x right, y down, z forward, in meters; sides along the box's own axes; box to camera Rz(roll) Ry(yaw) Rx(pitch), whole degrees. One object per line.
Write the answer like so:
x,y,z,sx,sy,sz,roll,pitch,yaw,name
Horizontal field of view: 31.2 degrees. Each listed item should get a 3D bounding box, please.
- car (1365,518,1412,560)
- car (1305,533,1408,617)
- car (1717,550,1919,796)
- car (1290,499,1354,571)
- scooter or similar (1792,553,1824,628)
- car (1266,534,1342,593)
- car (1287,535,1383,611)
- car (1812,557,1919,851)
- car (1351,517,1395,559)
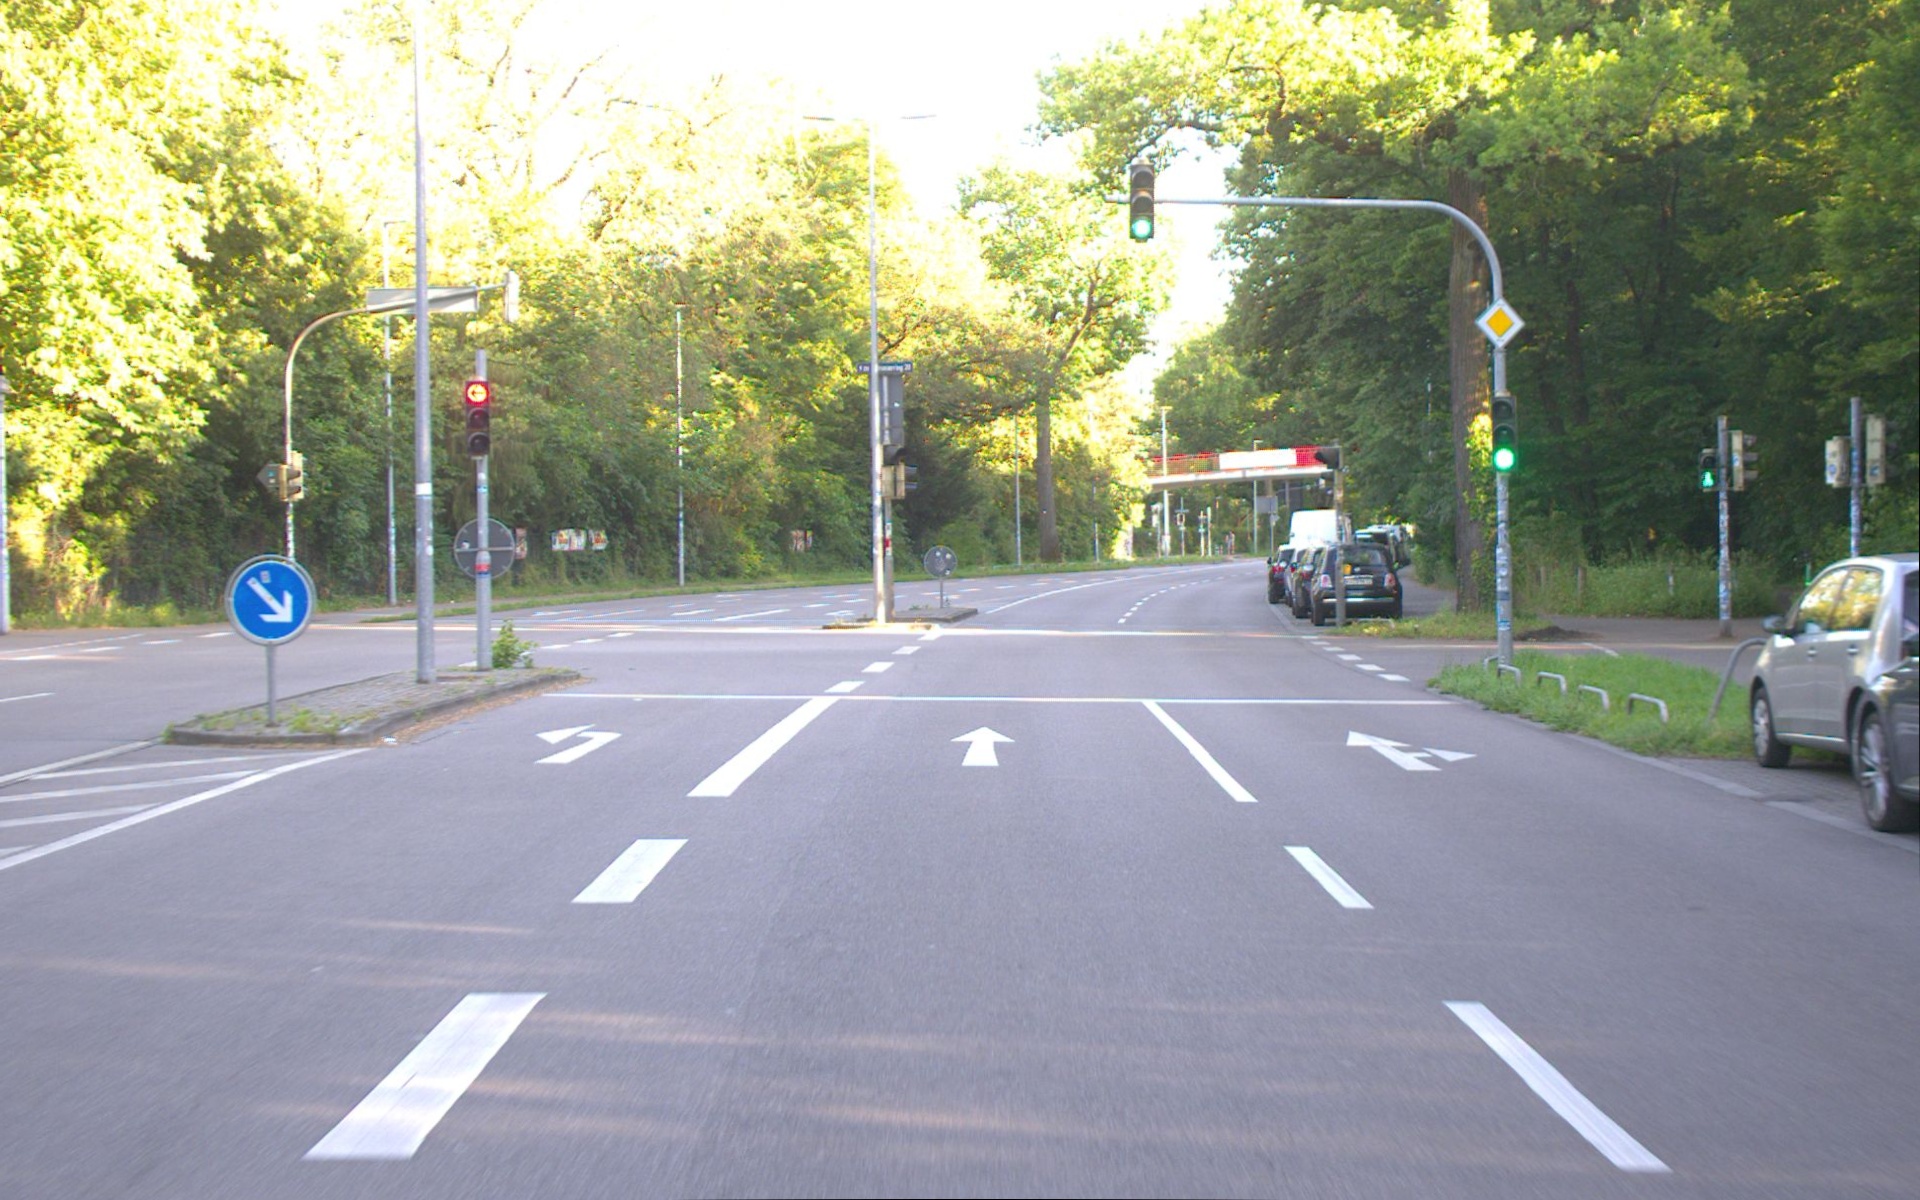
20.784,-2.958,166.707,1.869,1.974,5.472,-1,1,11,car
7.327,-0.477,63.785,1.718,1.464,3.756,-1,1,4,car
6.343,0.408,22.683,1.718,1.464,3.874,-1,1,-2,car
12.607,-2.244,119.517,1.905,2.415,5.574,-1,1,9,car
13.288,-0.154,53.866,0.378,1.140,1.223,0,1,9,scooter or similar
8.563,-0.918,85.758,1.718,1.407,4.487,-1,1,4,car
7.629,-0.565,70.232,1.718,1.464,4.987,-1,1,4,car
5.686,0.512,17.066,1.762,1.464,5.117,-1,1,2,car
18.548,-2.760,154.260,1.759,1.798,4.736,-1,1,9,car
